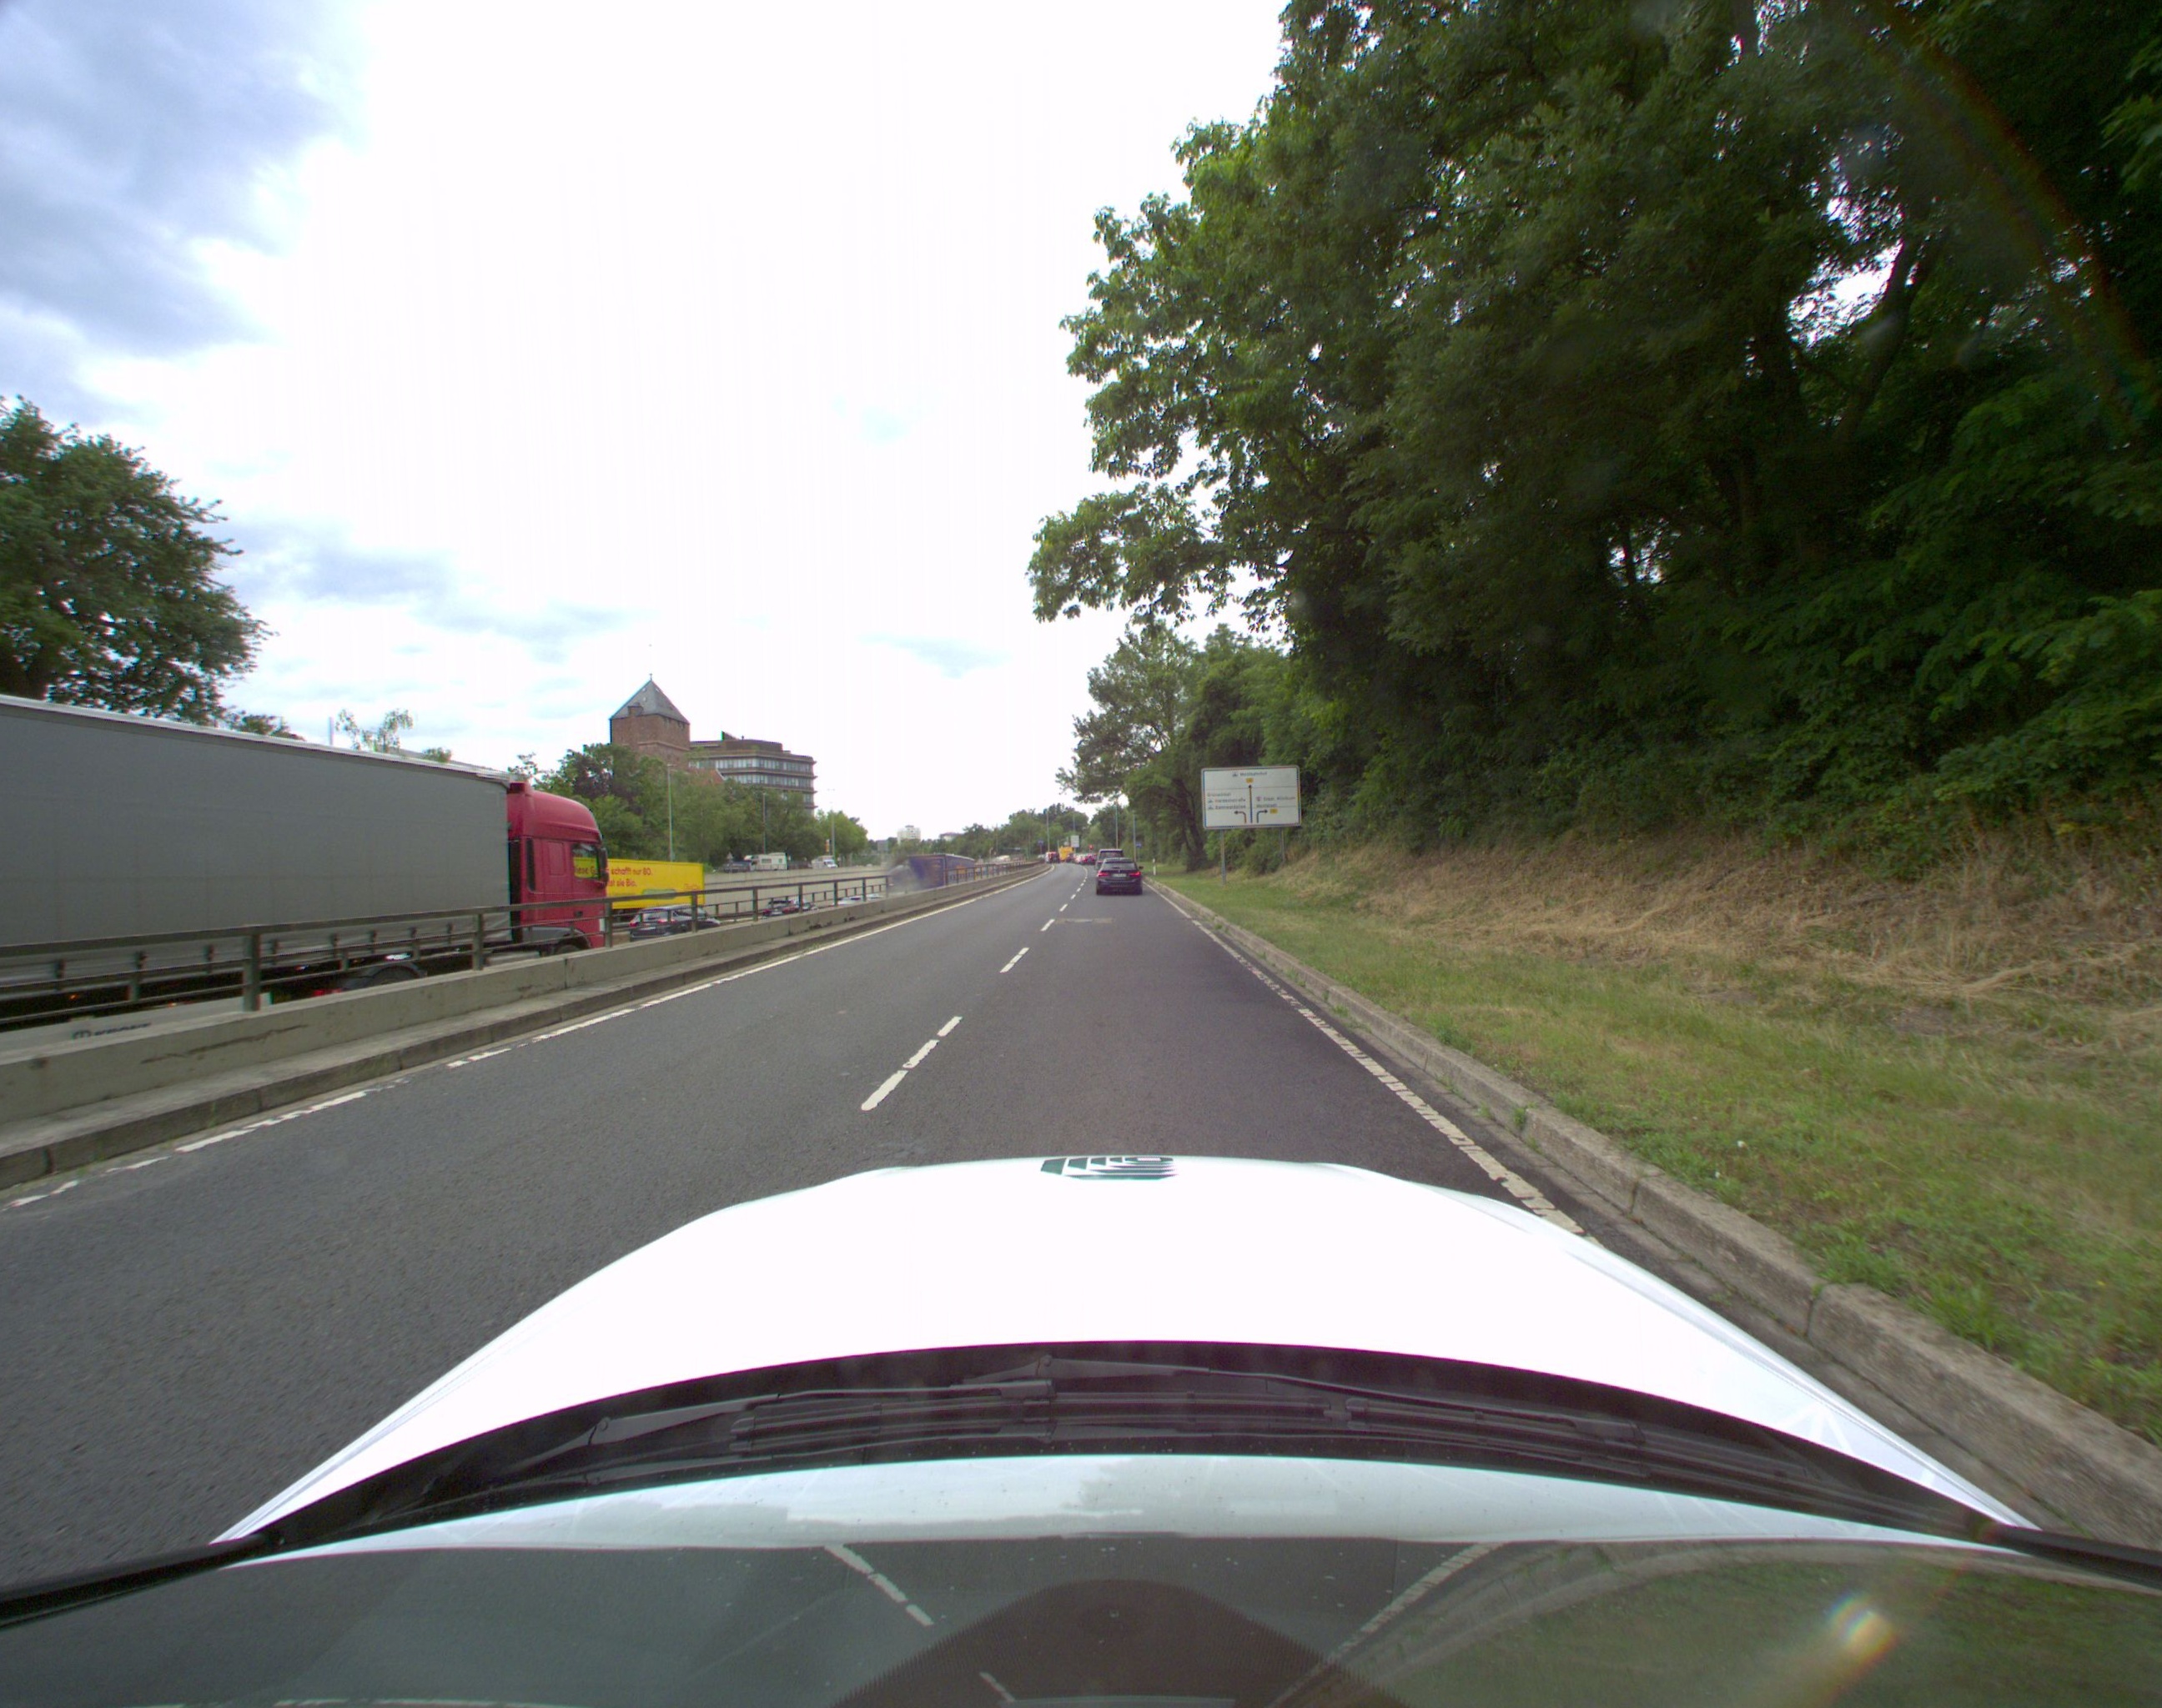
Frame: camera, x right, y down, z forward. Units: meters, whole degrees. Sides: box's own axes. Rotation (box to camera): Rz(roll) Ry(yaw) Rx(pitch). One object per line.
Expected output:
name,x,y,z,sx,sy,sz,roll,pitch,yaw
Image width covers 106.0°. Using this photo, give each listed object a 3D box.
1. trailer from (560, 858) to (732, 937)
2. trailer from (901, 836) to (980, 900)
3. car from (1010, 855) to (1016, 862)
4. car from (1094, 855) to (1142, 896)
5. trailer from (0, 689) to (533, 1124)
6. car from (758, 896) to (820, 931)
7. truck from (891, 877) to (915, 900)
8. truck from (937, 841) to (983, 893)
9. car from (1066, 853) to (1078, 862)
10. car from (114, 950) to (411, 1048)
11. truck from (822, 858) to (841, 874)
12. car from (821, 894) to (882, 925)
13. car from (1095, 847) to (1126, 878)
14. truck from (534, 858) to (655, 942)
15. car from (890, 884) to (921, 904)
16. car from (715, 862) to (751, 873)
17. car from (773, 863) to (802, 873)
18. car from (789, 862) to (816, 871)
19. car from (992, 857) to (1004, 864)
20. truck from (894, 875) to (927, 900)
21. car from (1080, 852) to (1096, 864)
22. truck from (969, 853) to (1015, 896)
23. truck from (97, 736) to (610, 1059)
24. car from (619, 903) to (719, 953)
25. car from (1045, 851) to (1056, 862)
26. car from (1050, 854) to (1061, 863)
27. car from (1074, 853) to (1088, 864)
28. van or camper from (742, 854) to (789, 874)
trailer,-25.614,2.343,49.264,2.515,4.037,13.781,-2,-1,2
trailer,-10.109,1.006,60.733,2.842,4.037,16.003,-2,-1,0
car,-18.310,1.233,218.493,1.621,1.701,4.287,0,-1,-6
car,1.527,0.809,32.908,1.741,1.426,4.466,-1,1,3
trailer,-11.371,0.518,7.203,2.641,4.037,14.561,-2,-1,2
car,-14.814,2.973,41.471,1.617,1.529,3.898,0,-1,2
truck,-25.944,4.995,118.813,2.517,3.220,4.317,-2,-1,0
truck,-10.093,1.095,68.537,2.841,4.037,6.096,-2,-1,0
car,-1.664,0.625,150.156,1.881,1.700,4.423,0,-1,-4
car,-15.350,2.675,15.631,1.649,1.213,3.899,0,-1,2
truck,-49.584,2.376,161.660,2.029,2.987,7.030,0,-1,-30
car,-10.579,2.526,37.776,1.649,1.213,3.898,0,-1,1
car,1.929,0.558,53.097,1.891,1.884,4.417,0,-1,2
truck,-25.782,2.318,43.508,2.515,4.037,6.098,-2,-1,1
car,-14.741,3.323,68.685,1.617,1.529,3.898,0,-1,2
car,-44.780,1.723,104.771,1.608,1.441,4.025,-1,-1,40
car,-45.679,2.149,126.724,1.608,1.441,4.025,-1,-1,40
car,-46.083,2.131,134.799,1.608,1.441,4.025,-1,-1,40
car,-20.688,1.556,203.149,1.612,1.701,4.311,-1,-1,13
truck,-25.888,5.057,124.157,2.516,3.352,11.047,-2,-1,0
car,0.946,0.601,113.556,1.881,1.592,4.423,0,-1,-4
truck,-9.204,2.056,86.327,2.841,4.037,15.576,-2,-1,0
truck,-11.130,0.591,13.528,2.695,4.037,6.205,-2,-1,2
car,-15.246,2.708,30.358,1.649,1.529,3.898,0,-1,1
car,-5.744,0.544,153.212,1.881,1.987,4.423,0,-1,-4
car,-4.622,0.797,145.177,1.621,1.701,4.287,0,-1,-6
car,-0.005,0.745,128.025,1.881,1.592,4.423,0,-1,-4
van or camper,-45.074,1.384,116.535,5.958,2.810,2.120,0,-1,-44
